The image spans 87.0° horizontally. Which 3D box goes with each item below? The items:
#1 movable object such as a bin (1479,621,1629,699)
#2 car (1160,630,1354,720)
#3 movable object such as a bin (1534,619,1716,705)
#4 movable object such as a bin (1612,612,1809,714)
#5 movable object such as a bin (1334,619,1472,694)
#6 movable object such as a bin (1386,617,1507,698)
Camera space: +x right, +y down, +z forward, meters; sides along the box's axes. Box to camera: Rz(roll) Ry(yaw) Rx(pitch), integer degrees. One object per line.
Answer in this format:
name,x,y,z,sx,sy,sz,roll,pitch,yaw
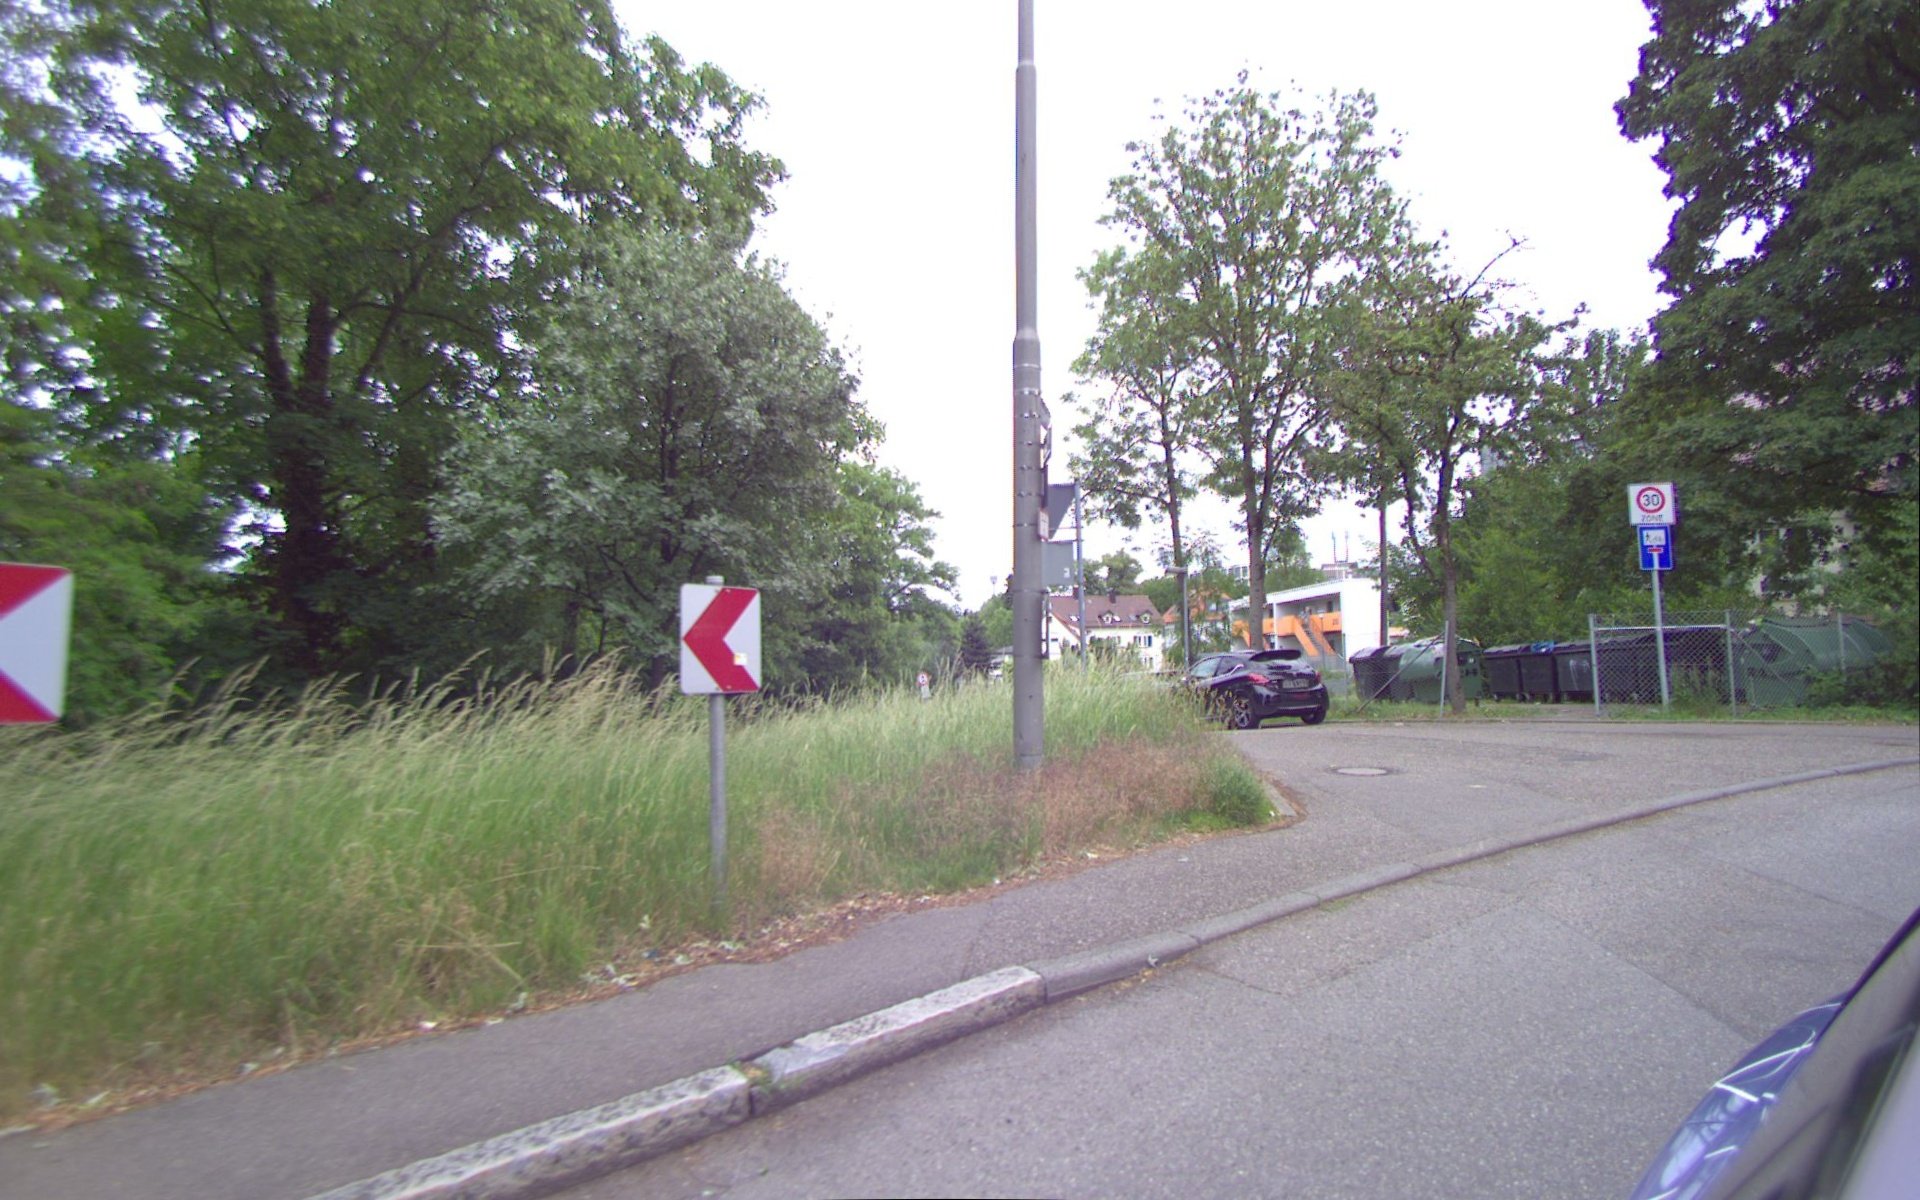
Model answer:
movable object such as a bin,14.553,1.456,24.906,2.163,1.755,2.237,-2,-2,-8
car,5.616,1.521,19.652,1.793,1.417,3.675,-2,-7,-17
movable object such as a bin,14.696,1.349,22.518,2.163,1.736,2.503,-2,-2,-8
movable object such as a bin,14.761,1.216,20.021,2.163,1.810,2.112,-2,-2,-8
movable object such as a bin,10.131,1.283,23.341,1.417,1.568,2.901,-2,-2,-11
movable object such as a bin,10.036,1.179,20.944,1.641,1.568,1.428,-1,-3,-11
